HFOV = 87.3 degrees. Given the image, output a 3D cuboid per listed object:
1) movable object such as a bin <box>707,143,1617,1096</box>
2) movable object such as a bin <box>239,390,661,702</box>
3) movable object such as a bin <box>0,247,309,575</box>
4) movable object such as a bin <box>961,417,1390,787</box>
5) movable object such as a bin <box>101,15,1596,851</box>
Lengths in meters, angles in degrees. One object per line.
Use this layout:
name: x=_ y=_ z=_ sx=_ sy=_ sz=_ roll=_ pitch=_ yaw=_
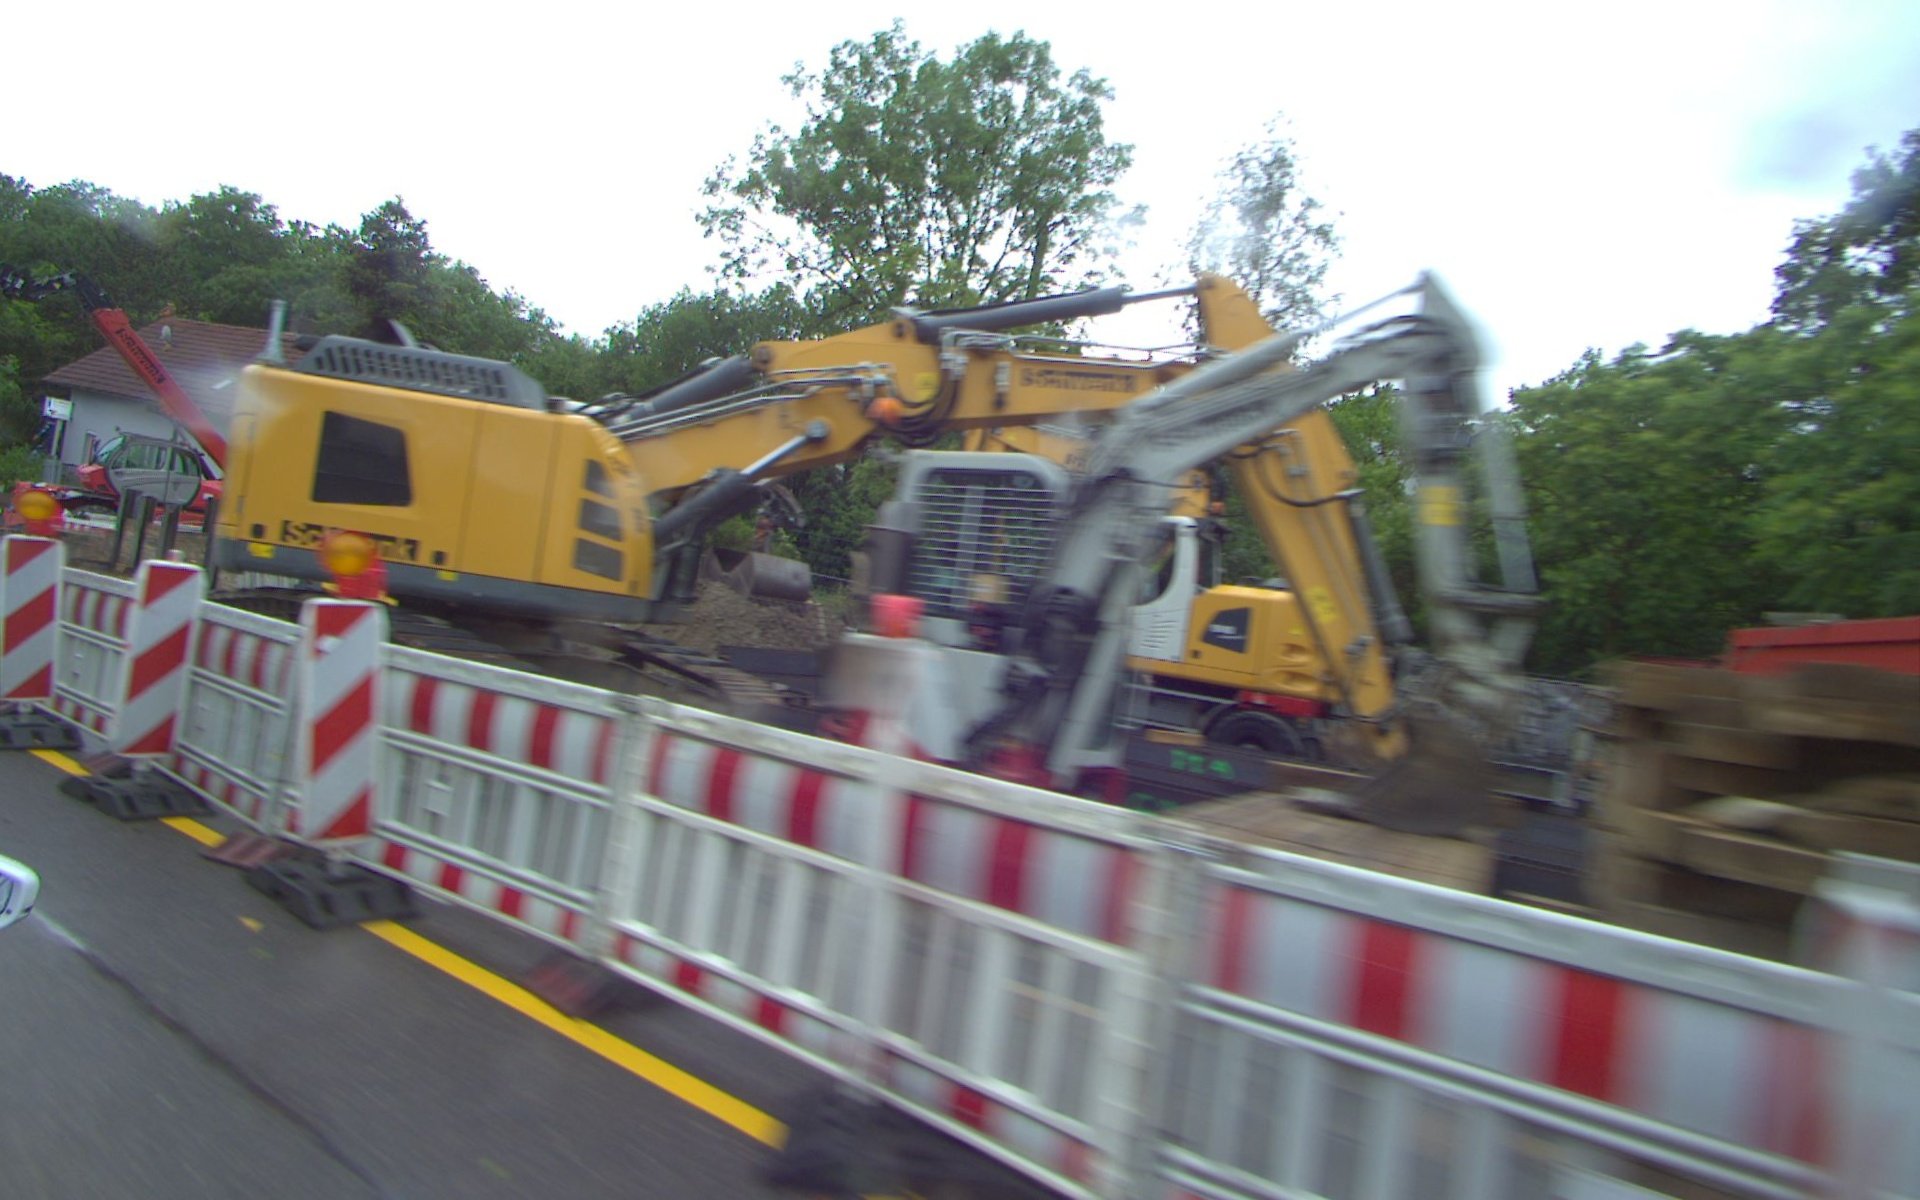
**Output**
movable object such as a bin: x=0.949 y=0.007 z=5.287 sx=3.769 sy=3.344 sz=1.998 roll=5 pitch=-2 yaw=28
movable object such as a bin: x=-6.609 y=-0.520 z=13.593 sx=2.364 sy=3.240 sz=4.002 roll=14 pitch=1 yaw=22
movable object such as a bin: x=-22.020 y=-4.538 z=26.520 sx=2.992 sy=6.769 sz=6.967 roll=7 pitch=-1 yaw=28
movable object such as a bin: x=2.718 y=-0.091 z=12.929 sx=4.538 sy=3.934 sz=1.998 roll=8 pitch=0 yaw=30
movable object such as a bin: x=-0.590 y=-1.020 z=9.005 sx=10.625 sy=4.976 sz=3.067 roll=6 pitch=-1 yaw=-5
